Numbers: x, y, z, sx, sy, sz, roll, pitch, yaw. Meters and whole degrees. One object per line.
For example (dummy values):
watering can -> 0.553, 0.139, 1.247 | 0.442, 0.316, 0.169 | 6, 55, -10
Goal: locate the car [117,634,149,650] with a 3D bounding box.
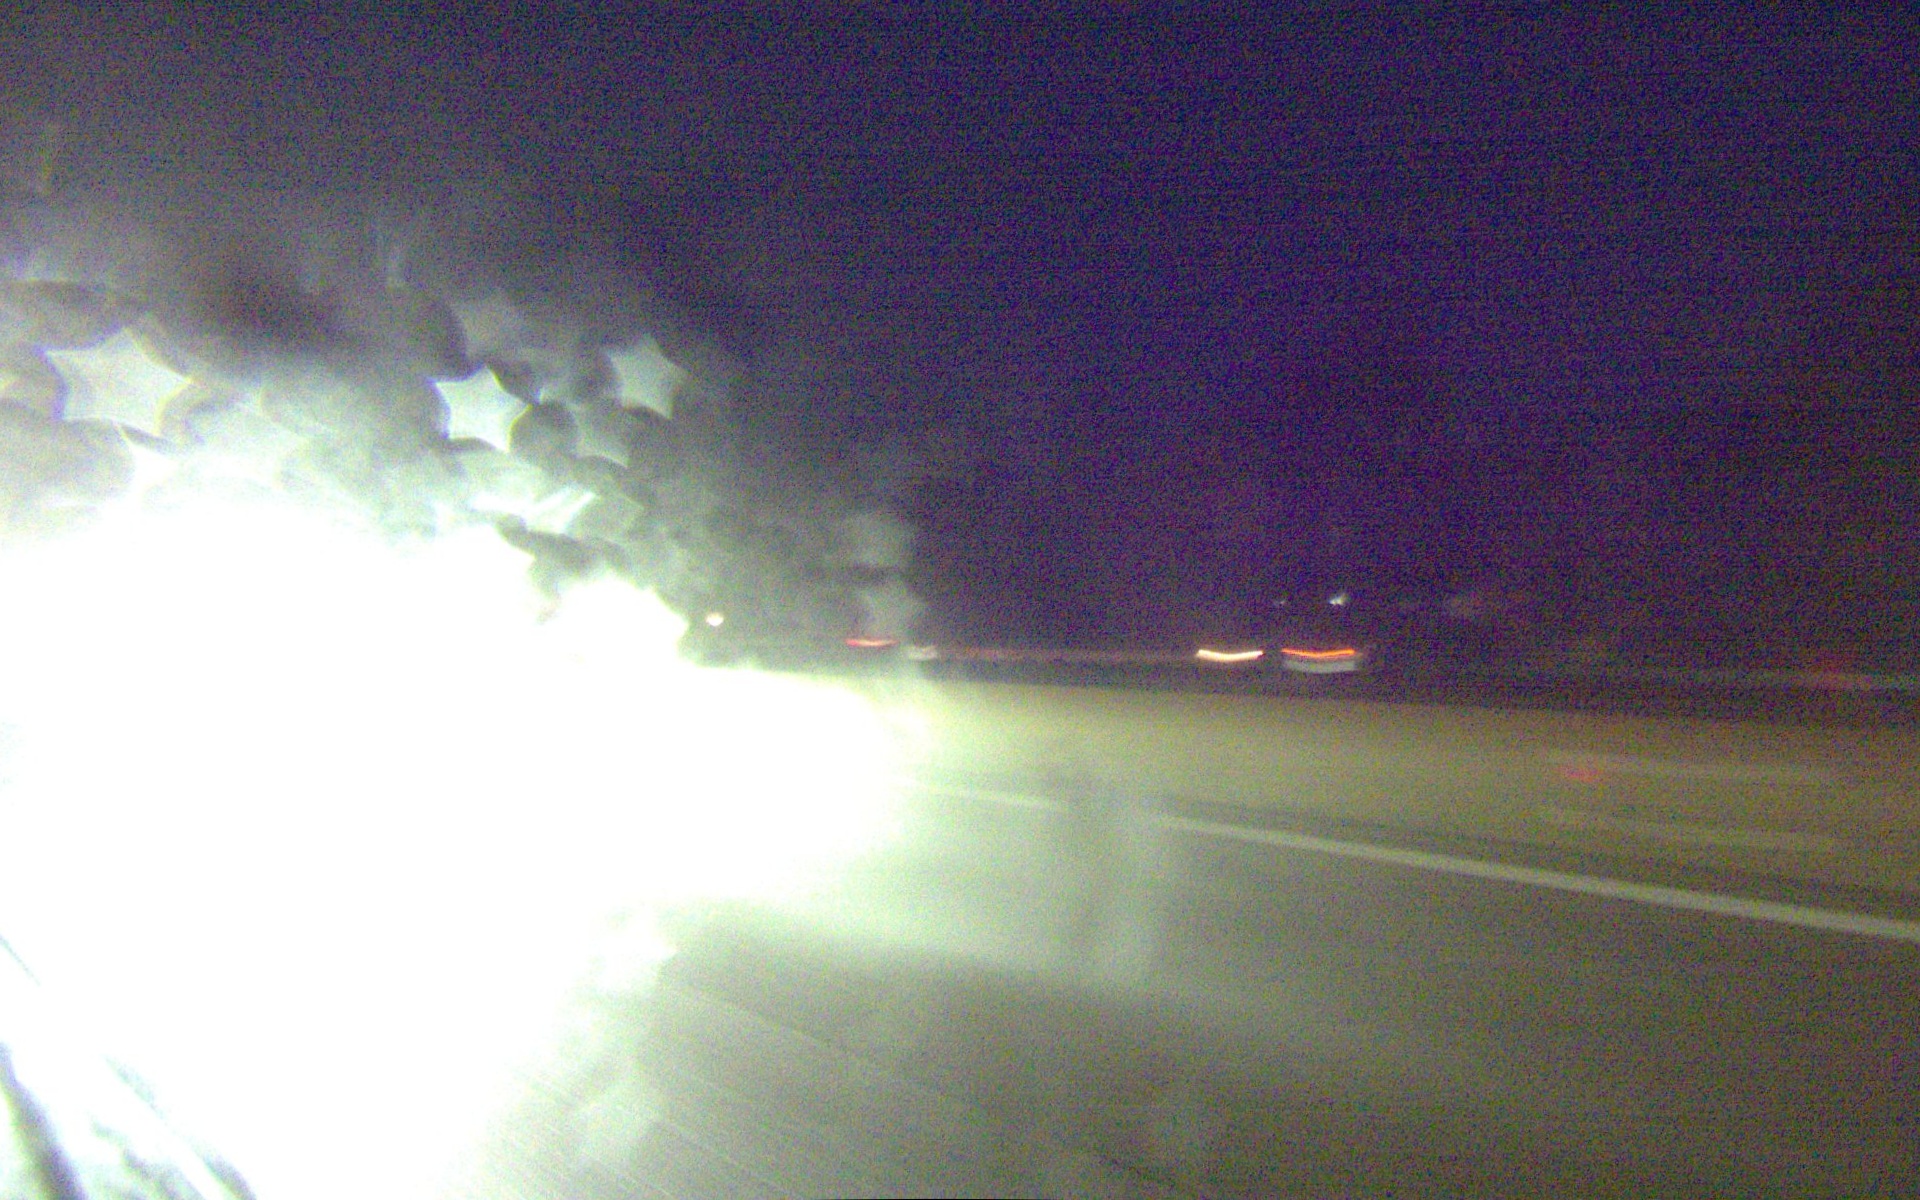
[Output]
car -> -85.022, 4.303, 104.011 | 4.291, 1.471, 1.820 | -1, -4, 42

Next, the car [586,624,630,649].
car -> -25.493, 2.621, 73.253 | 1.694, 1.668, 3.667 | 4, -4, -42

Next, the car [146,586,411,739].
car -> -10.443, 0.827, 15.297 | 5.555, 1.899, 2.113 | -1, -2, 43

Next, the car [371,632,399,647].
car -> -71.223, 4.869, 125.422 | 1.970, 1.785, 4.573 | 0, -2, -44

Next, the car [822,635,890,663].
car -> -5.359, 2.500, 51.937 | 3.555, 1.294, 1.469 | -1, -4, 43

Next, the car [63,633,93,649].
car -> -91.709, 4.271, 105.230 | 4.291, 1.471, 1.820 | -1, -4, 42

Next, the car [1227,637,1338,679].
car -> 10.798, 1.933, 33.971 | 3.232, 1.294, 1.480 | -1, -4, 43
